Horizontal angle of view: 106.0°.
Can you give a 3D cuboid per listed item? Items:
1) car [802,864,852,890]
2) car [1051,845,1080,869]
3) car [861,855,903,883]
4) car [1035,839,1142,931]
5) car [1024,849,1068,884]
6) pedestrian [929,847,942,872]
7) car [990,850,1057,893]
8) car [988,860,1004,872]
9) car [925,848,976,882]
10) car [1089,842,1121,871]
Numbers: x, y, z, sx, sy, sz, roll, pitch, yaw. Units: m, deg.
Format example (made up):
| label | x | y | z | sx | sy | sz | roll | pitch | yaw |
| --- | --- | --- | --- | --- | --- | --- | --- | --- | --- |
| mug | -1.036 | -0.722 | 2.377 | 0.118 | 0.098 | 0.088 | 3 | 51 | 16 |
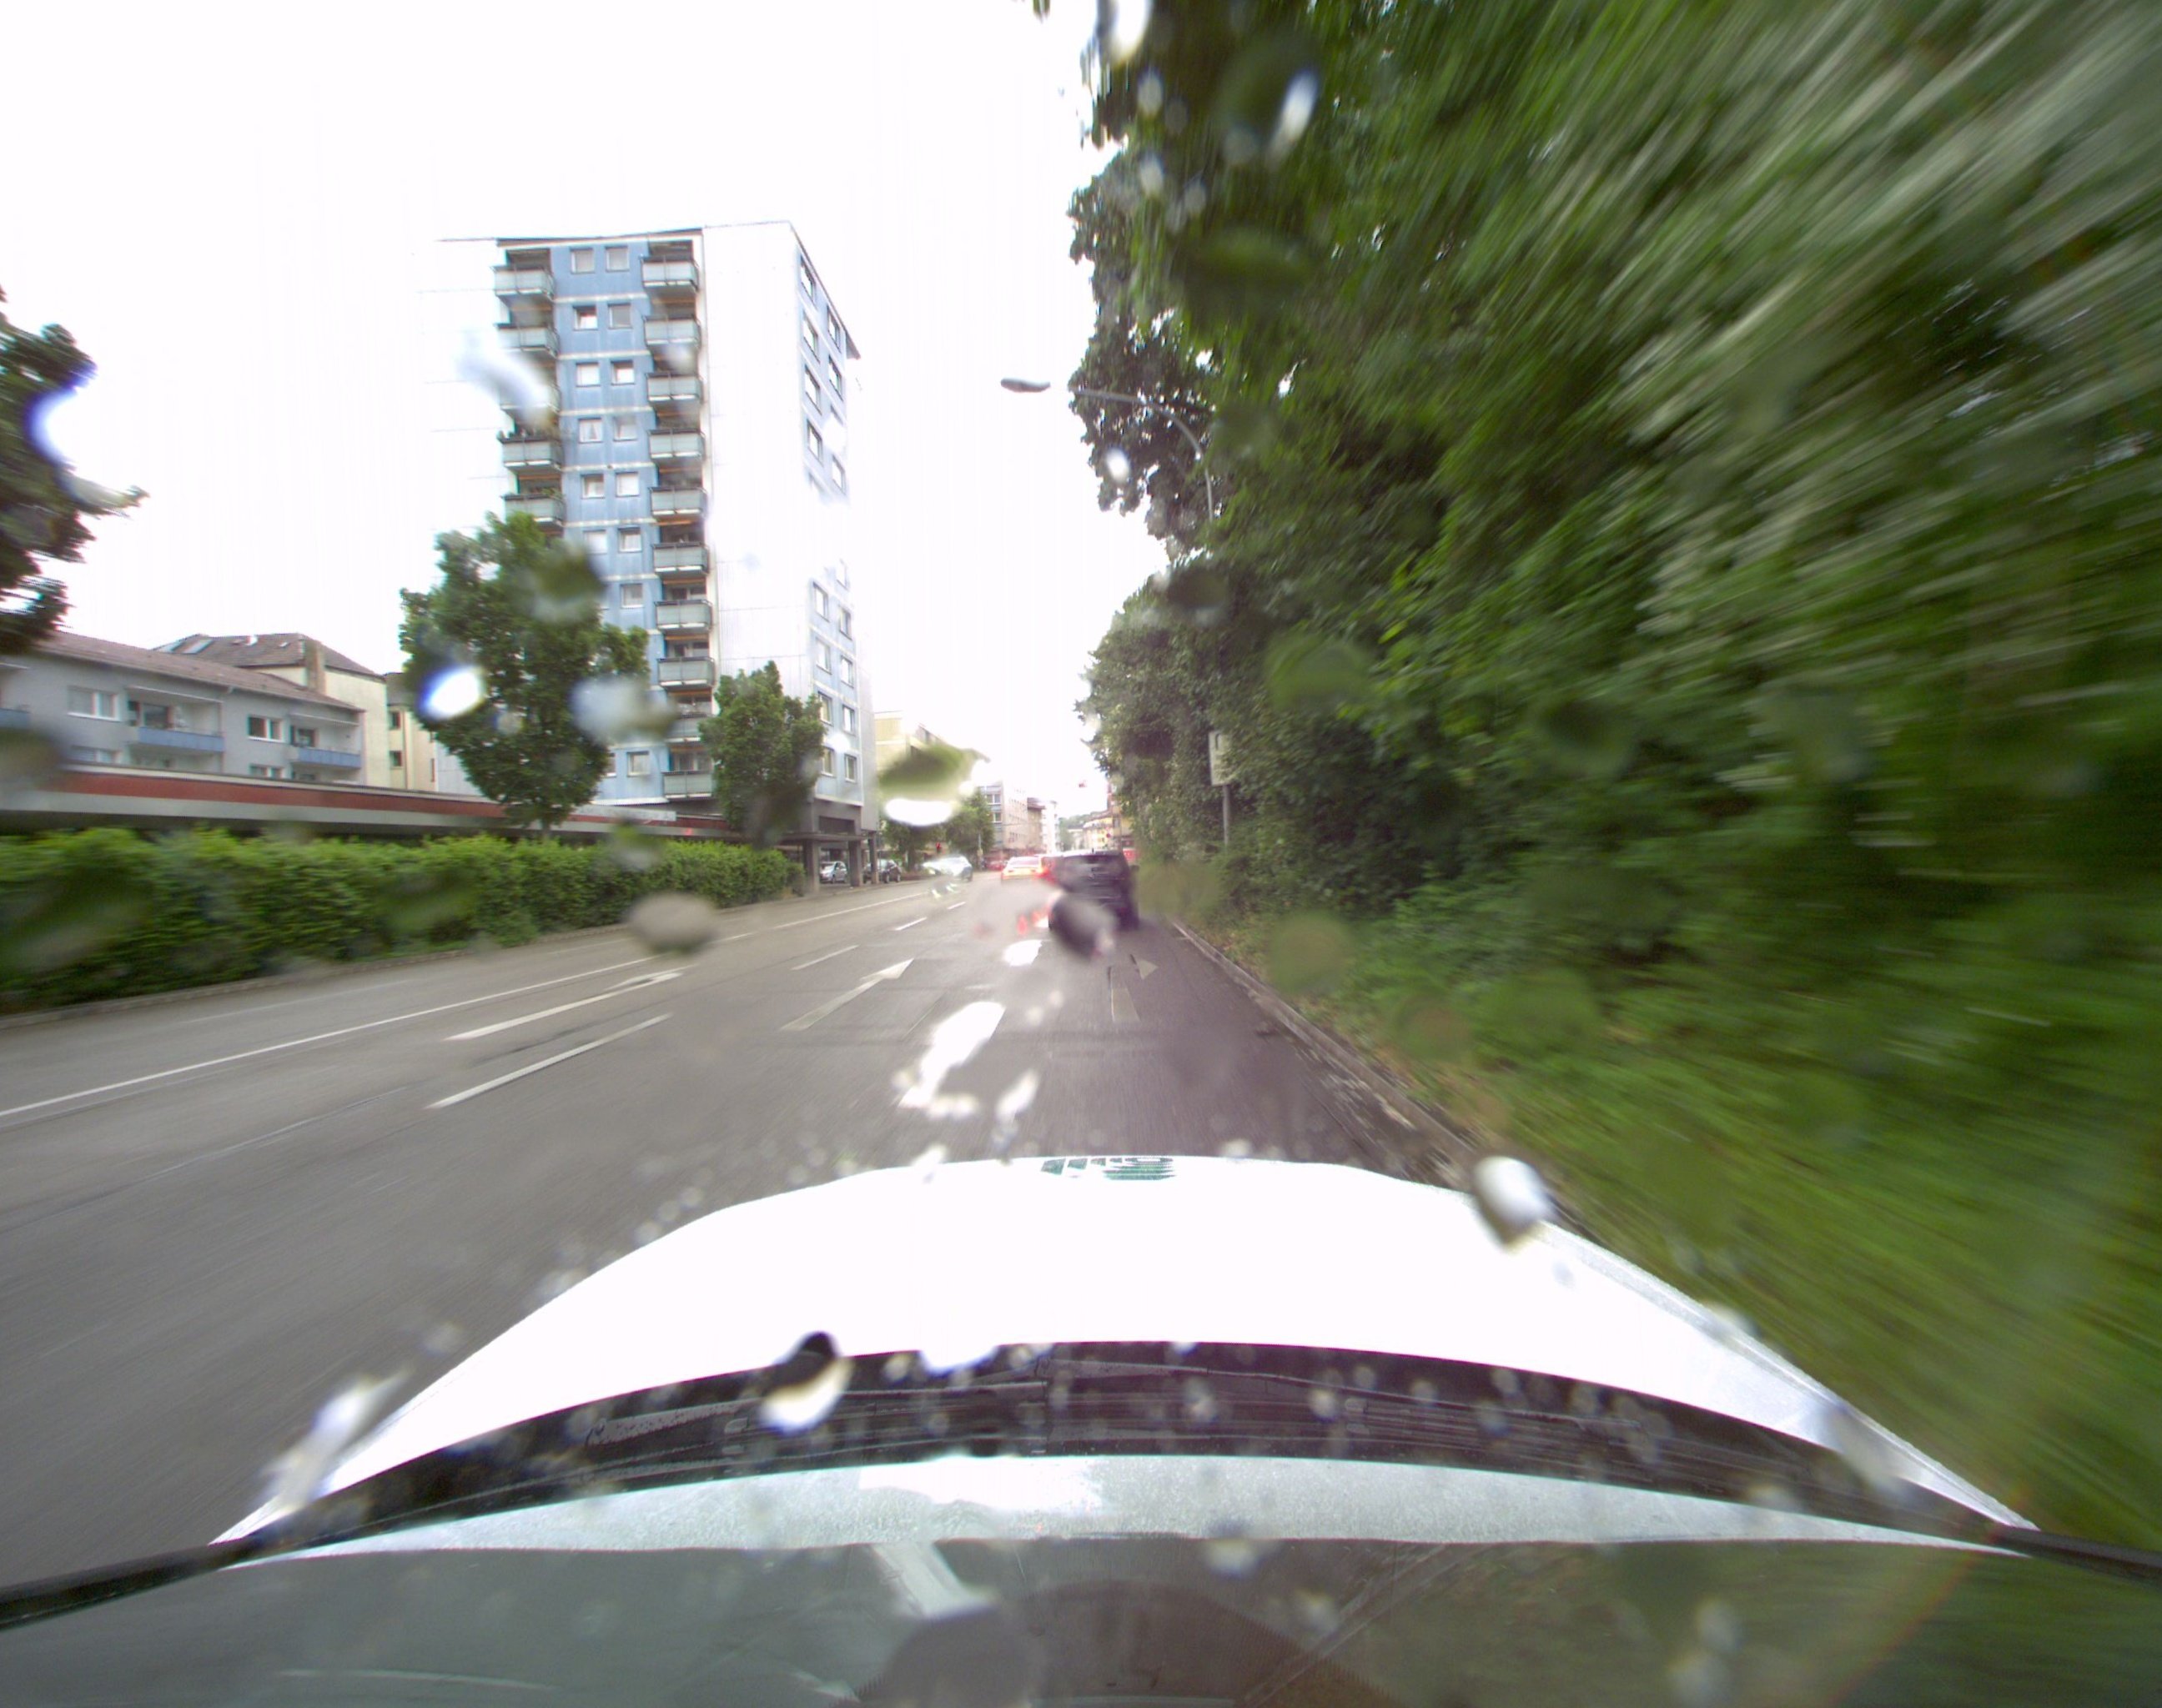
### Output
| label | x | y | z | sx | sy | sz | roll | pitch | yaw |
| --- | --- | --- | --- | --- | --- | --- | --- | --- | --- |
| car | -17.999 | 1.588 | 57.846 | 1.986 | 1.655 | 4.512 | -2 | 0 | 1 |
| car | -1.001 | 0.164 | 53.792 | 1.761 | 1.444 | 4.000 | -3 | 0 | 0 |
| car | -13.262 | 0.968 | 54.453 | 1.533 | 1.706 | 4.289 | -2 | 0 | 2 |
| car | 0.166 | 0.579 | 17.416 | 1.953 | 1.652 | 4.000 | -2 | 0 | 0 |
| car | -1.637 | 0.562 | 39.066 | 1.737 | 1.487 | 4.163 | -3 | 0 | 1 |
| pedestrian | -12.416 | 0.484 | 69.435 | 0.939 | 2.013 | 0.884 | -4 | 0 | -8 |
| car | -2.168 | 0.645 | 32.063 | 2.058 | 1.464 | 4.589 | -3 | 0 | 2 |
| car | -11.683 | 1.697 | 112.452 | 1.667 | 1.478 | 3.607 | -4 | 0 | 0 |
| car | -7.480 | 0.627 | 47.118 | 1.986 | 1.750 | 4.809 | -3 | 0 | 2 |
| car | 1.834 | 0.173 | 60.595 | 1.983 | 2.013 | 4.007 | -3 | 0 | 6 |
